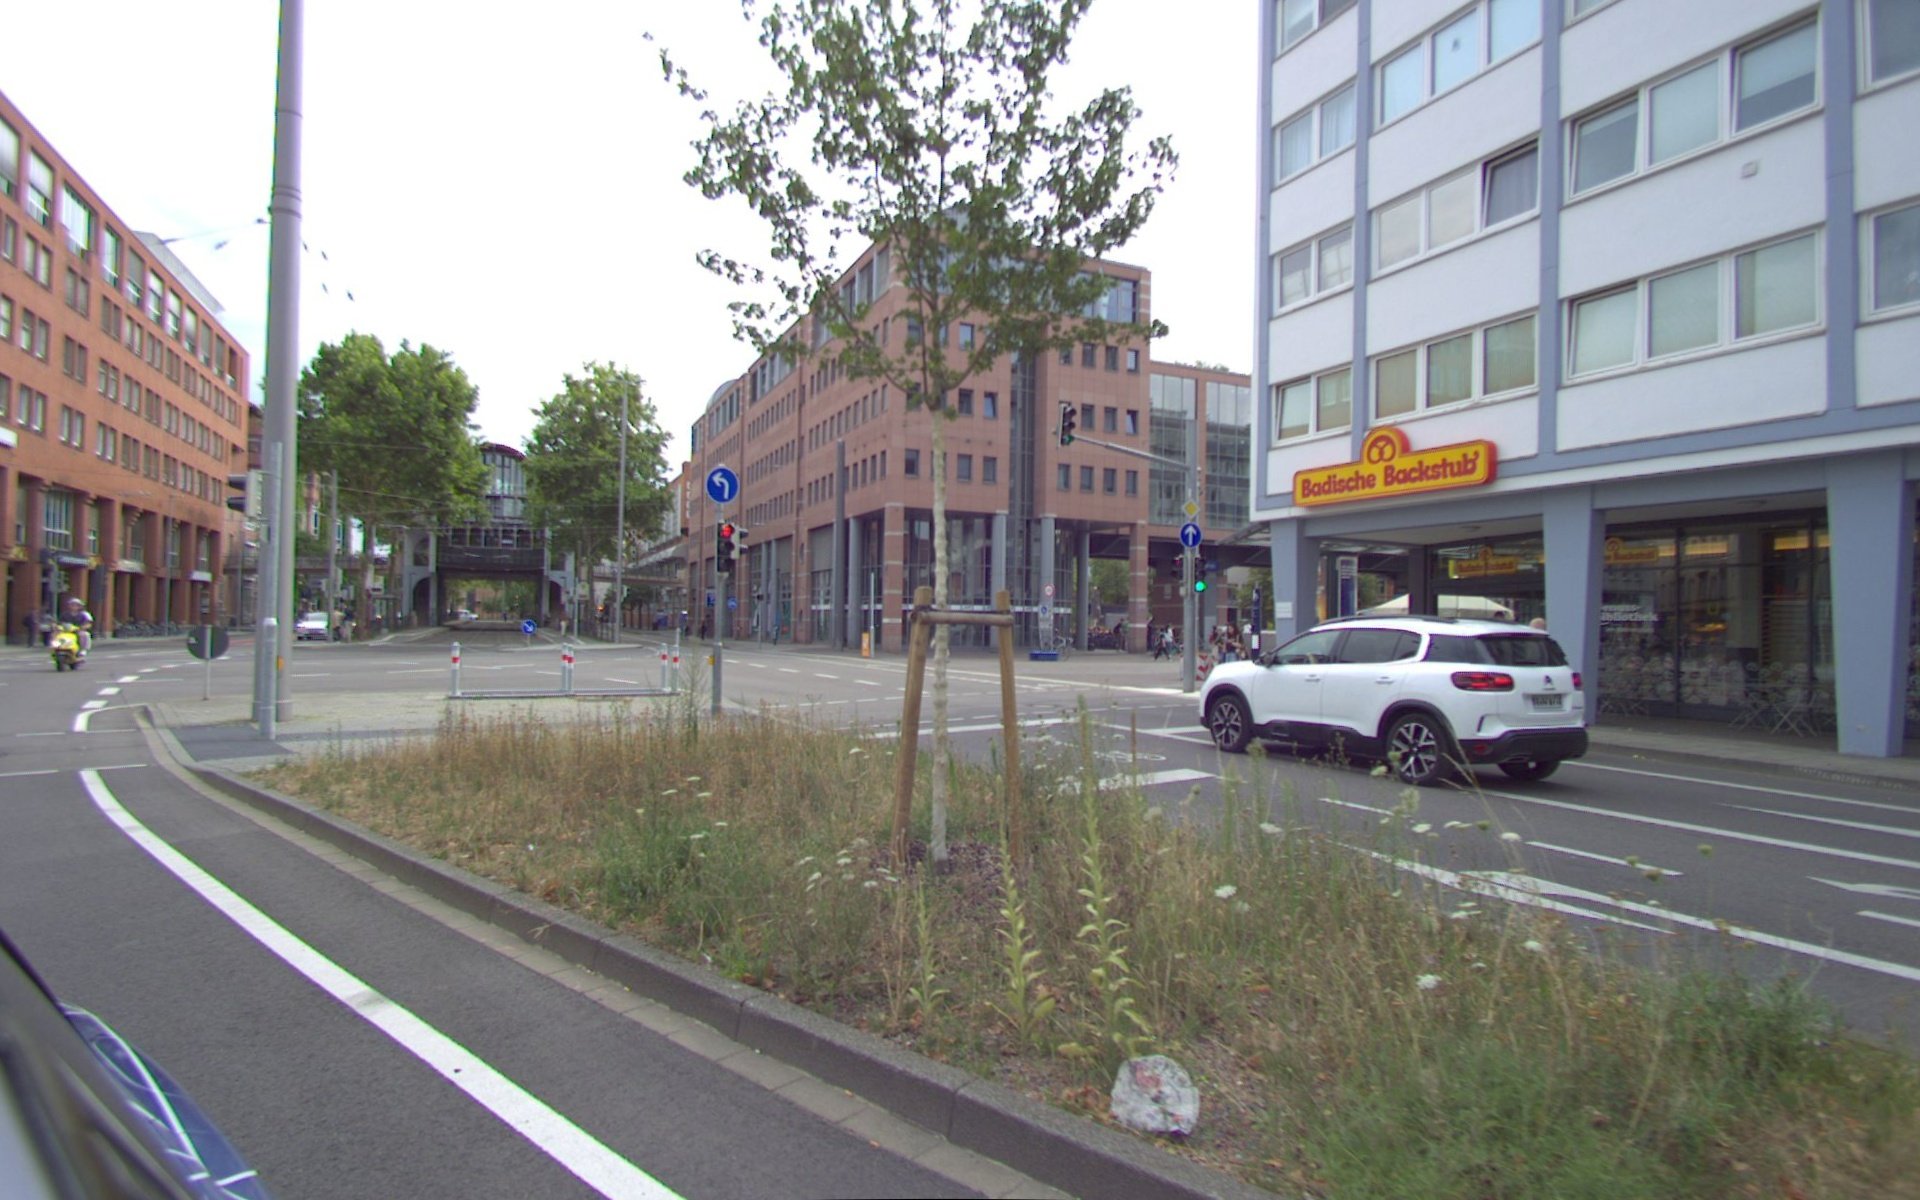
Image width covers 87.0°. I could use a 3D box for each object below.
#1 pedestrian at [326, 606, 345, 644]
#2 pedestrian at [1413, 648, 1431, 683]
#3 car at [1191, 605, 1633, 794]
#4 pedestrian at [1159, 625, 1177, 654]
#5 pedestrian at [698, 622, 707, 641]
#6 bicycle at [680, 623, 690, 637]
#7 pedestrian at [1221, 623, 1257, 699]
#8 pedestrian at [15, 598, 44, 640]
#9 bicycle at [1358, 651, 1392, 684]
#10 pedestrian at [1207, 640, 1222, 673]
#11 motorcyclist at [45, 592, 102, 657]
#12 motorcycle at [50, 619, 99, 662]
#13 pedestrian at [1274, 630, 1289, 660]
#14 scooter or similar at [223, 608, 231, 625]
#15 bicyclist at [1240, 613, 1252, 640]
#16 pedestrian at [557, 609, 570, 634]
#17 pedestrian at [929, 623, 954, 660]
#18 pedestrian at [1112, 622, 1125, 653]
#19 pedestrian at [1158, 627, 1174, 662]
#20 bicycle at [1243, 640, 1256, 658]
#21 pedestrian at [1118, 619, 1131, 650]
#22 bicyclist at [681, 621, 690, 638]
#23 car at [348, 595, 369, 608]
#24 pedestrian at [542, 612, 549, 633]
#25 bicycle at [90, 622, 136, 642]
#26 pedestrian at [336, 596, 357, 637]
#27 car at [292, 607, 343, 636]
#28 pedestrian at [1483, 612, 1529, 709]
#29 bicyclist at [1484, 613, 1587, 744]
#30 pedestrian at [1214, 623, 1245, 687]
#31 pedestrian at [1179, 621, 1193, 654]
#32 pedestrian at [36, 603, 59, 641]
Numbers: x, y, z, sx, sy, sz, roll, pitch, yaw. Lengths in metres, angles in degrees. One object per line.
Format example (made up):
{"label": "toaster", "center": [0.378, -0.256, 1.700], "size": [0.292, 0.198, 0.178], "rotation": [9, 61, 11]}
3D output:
{"label": "pedestrian", "center": [-30.406, 1.210, 49.282], "size": [0.528, 1.805, 0.578], "rotation": [1, -2, -4]}
{"label": "pedestrian", "center": [15.284, 2.159, 33.480], "size": [0.441, 1.142, 0.529], "rotation": [-1, -3, 37]}
{"label": "car", "center": [4.711, 0.938, 11.298], "size": [1.806, 1.672, 4.338], "rotation": [2, -2, -26]}
{"label": "pedestrian", "center": [10.623, 2.001, 51.646], "size": [0.644, 1.484, 0.583], "rotation": [2, -2, -23]}
{"label": "pedestrian", "center": [-20.833, 2.554, 81.926], "size": [0.520, 1.585, 0.603], "rotation": [2, -2, -24]}
{"label": "bicycle", "center": [-22.267, 2.437, 81.999], "size": [0.538, 1.126, 1.595], "rotation": [2, -2, -23]}
{"label": "pedestrian", "center": [5.857, 1.280, 21.266], "size": [0.491, 1.571, 0.519], "rotation": [2, -2, -31]}
{"label": "pedestrian", "center": [-39.515, 0.808, 42.988], "size": [0.636, 1.709, 0.700], "rotation": [4, -2, -26]}
{"label": "bicycle", "center": [13.252, 2.136, 32.296], "size": [0.473, 0.996, 1.764], "rotation": [-1, -3, 41]}
{"label": "pedestrian", "center": [12.703, 2.808, 50.541], "size": [0.630, 1.654, 0.463], "rotation": [0, -2, 27]}
{"label": "motorcyclist", "center": [-21.413, 0.608, 24.470], "size": [0.858, 1.528, 1.046], "rotation": [2, -3, -34]}
{"label": "motorcycle", "center": [-21.358, 0.966, 24.433], "size": [0.561, 0.975, 2.019], "rotation": [2, -2, -33]}
{"label": "pedestrian", "center": [17.636, 2.466, 55.508], "size": [0.512, 1.676, 0.583], "rotation": [2, -2, -23]}
{"label": "scooter or similar", "center": [-55.733, 1.256, 76.928], "size": [0.268, 1.267, 0.924], "rotation": [2, -2, -24]}
{"label": "bicyclist", "center": [16.860, 1.565, 59.619], "size": [0.544, 1.581, 0.876], "rotation": [0, -2, 26]}
{"label": "pedestrian", "center": [-24.586, 1.337, 62.783], "size": [0.647, 1.549, 0.560], "rotation": [2, 0, -28]}
{"label": "pedestrian", "center": [-0.735, 1.672, 40.741], "size": [0.785, 1.484, 0.687], "rotation": [2, -2, -24]}
{"label": "pedestrian", "center": [8.815, 2.087, 56.280], "size": [0.512, 1.676, 0.583], "rotation": [2, -2, -23]}
{"label": "pedestrian", "center": [9.391, 2.010, 46.122], "size": [0.498, 1.589, 0.522], "rotation": [2, -2, -22]}
{"label": "bicycle", "center": [17.015, 2.885, 59.466], "size": [0.470, 0.996, 1.773], "rotation": [0, -2, 25]}
{"label": "pedestrian", "center": [9.030, 1.913, 55.520], "size": [0.579, 1.676, 0.515], "rotation": [0, -2, 33]}
{"label": "bicyclist", "center": [-22.201, 2.394, 81.847], "size": [0.542, 1.391, 0.740], "rotation": [2, -2, -24]}
{"label": "car", "center": [-82.617, 0.208, 139.086], "size": [1.924, 1.613, 4.013], "rotation": [2, -2, -24]}
{"label": "pedestrian", "center": [-35.519, 1.917, 86.758], "size": [0.474, 1.784, 0.483], "rotation": [2, -2, -31]}
{"label": "bicycle", "center": [-46.603, 1.743, 55.694], "size": [1.828, 1.048, 0.509], "rotation": [2, -2, -24]}
{"label": "pedestrian", "center": [-28.785, 0.763, 47.478], "size": [0.681, 1.889, 0.809], "rotation": [2, -2, -23]}
{"label": "car", "center": [-38.443, 1.293, 60.615], "size": [1.924, 1.613, 4.013], "rotation": [2, -2, -24]}
{"label": "pedestrian", "center": [10.260, 1.134, 19.029], "size": [0.469, 1.779, 0.591], "rotation": [2, -3, -24]}
{"label": "bicyclist", "center": [7.624, 1.019, 13.439], "size": [0.599, 1.658, 1.041], "rotation": [2, -2, -21]}
{"label": "pedestrian", "center": [6.993, 1.417, 26.284], "size": [0.684, 1.606, 0.655], "rotation": [0, -2, 23]}
{"label": "pedestrian", "center": [12.137, 2.025, 54.370], "size": [0.679, 1.775, 0.496], "rotation": [0, -2, 19]}
{"label": "pedestrian", "center": [-40.262, 0.994, 44.659], "size": [0.400, 1.644, 0.734], "rotation": [3, -3, -16]}
